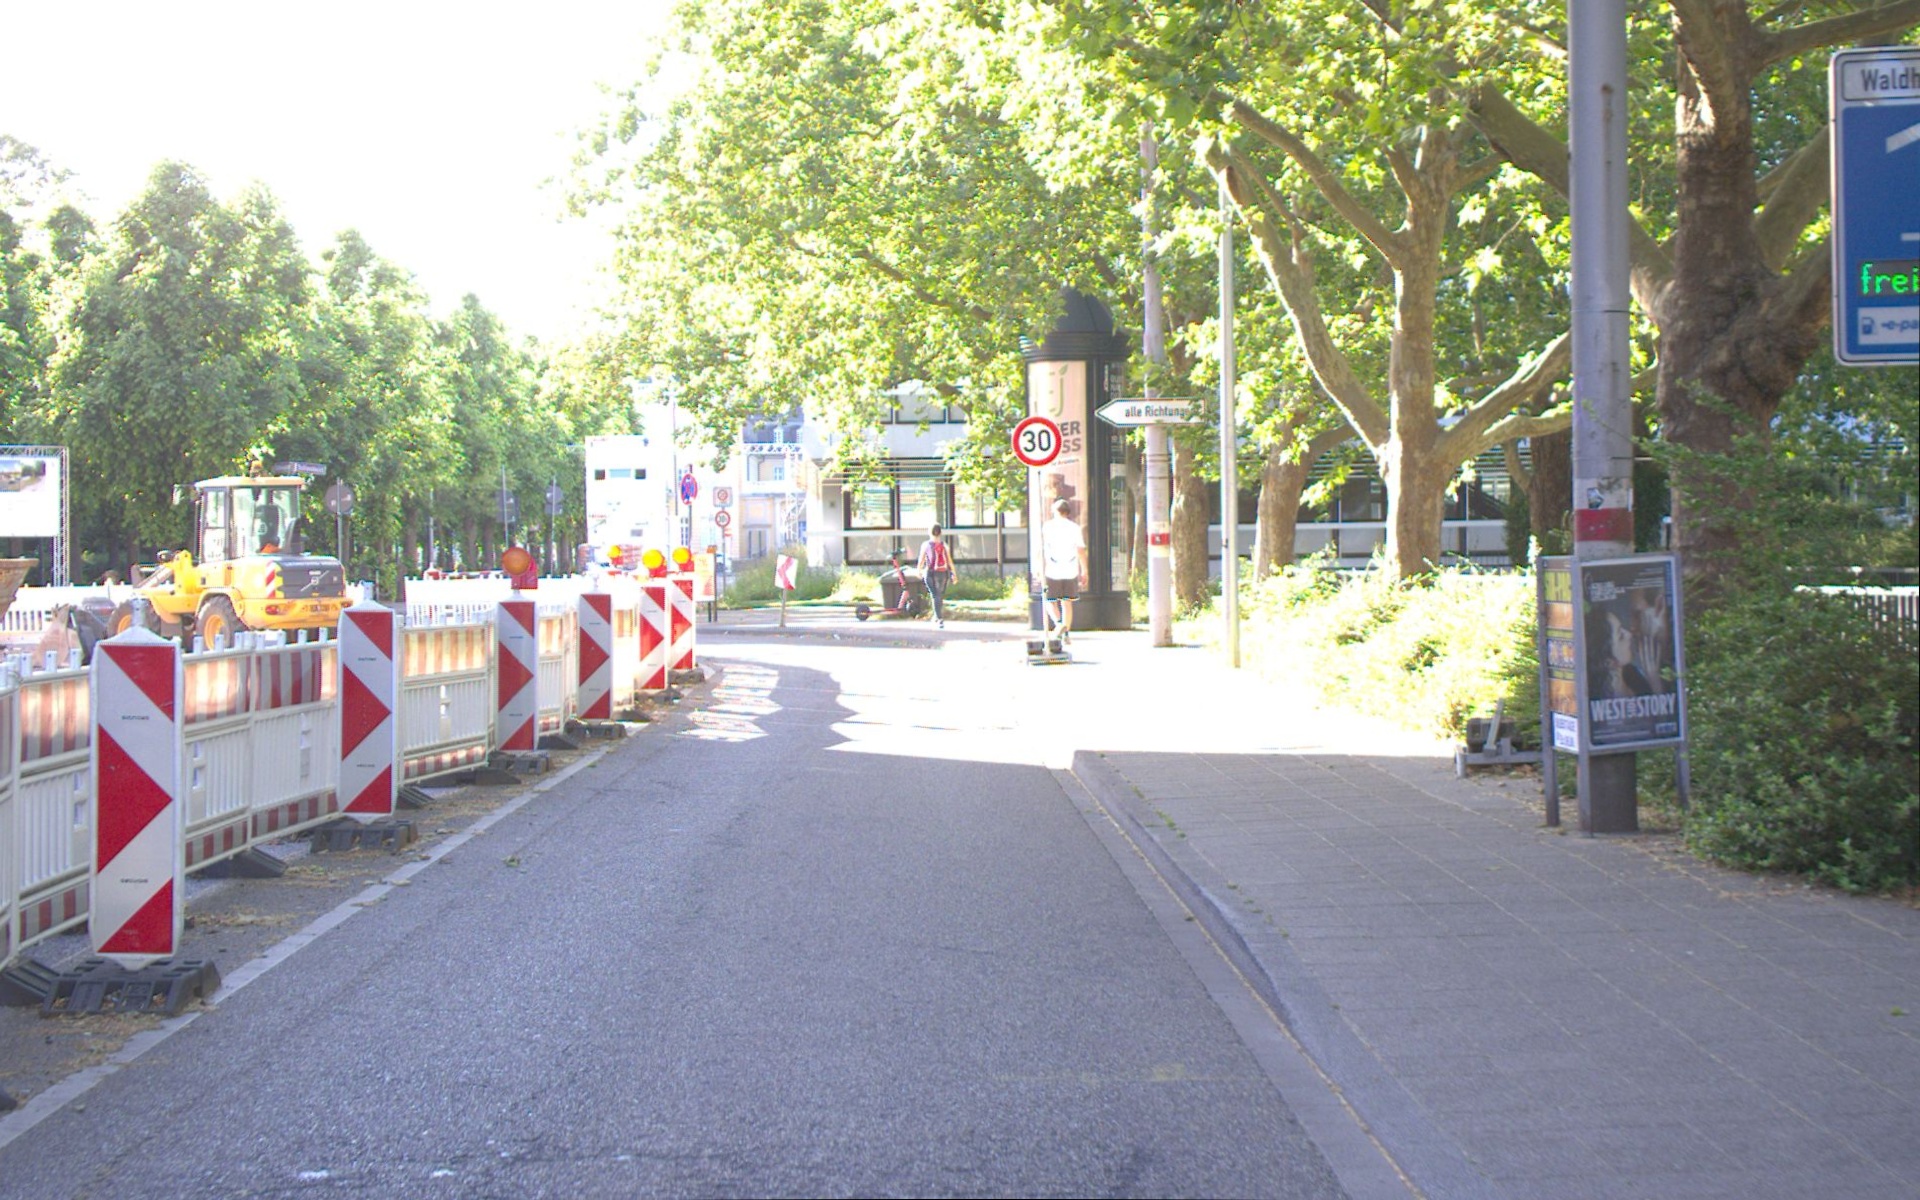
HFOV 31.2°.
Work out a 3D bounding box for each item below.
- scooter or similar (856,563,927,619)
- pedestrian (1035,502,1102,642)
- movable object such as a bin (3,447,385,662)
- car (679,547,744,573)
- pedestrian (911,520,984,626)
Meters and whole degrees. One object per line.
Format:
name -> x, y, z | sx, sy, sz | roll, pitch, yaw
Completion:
scooter or similar -> -1.199, -0.152, 59.879 | 1.146, 0.911, 0.419 | -3, 0, -8
pedestrian -> 1.431, -0.382, 45.494 | 0.745, 1.806, 1.134 | 0, 2, -6
movable object such as a bin -> -11.493, -0.647, 51.339 | 5.926, 3.021, 2.561 | -1, 1, 43
car -> -17.796, -2.877, 246.368 | 4.557, 1.784, 2.000 | 0, 1, -2
pedestrian -> -0.194, -0.415, 52.982 | 0.708, 1.618, 0.939 | -1, 0, -32
